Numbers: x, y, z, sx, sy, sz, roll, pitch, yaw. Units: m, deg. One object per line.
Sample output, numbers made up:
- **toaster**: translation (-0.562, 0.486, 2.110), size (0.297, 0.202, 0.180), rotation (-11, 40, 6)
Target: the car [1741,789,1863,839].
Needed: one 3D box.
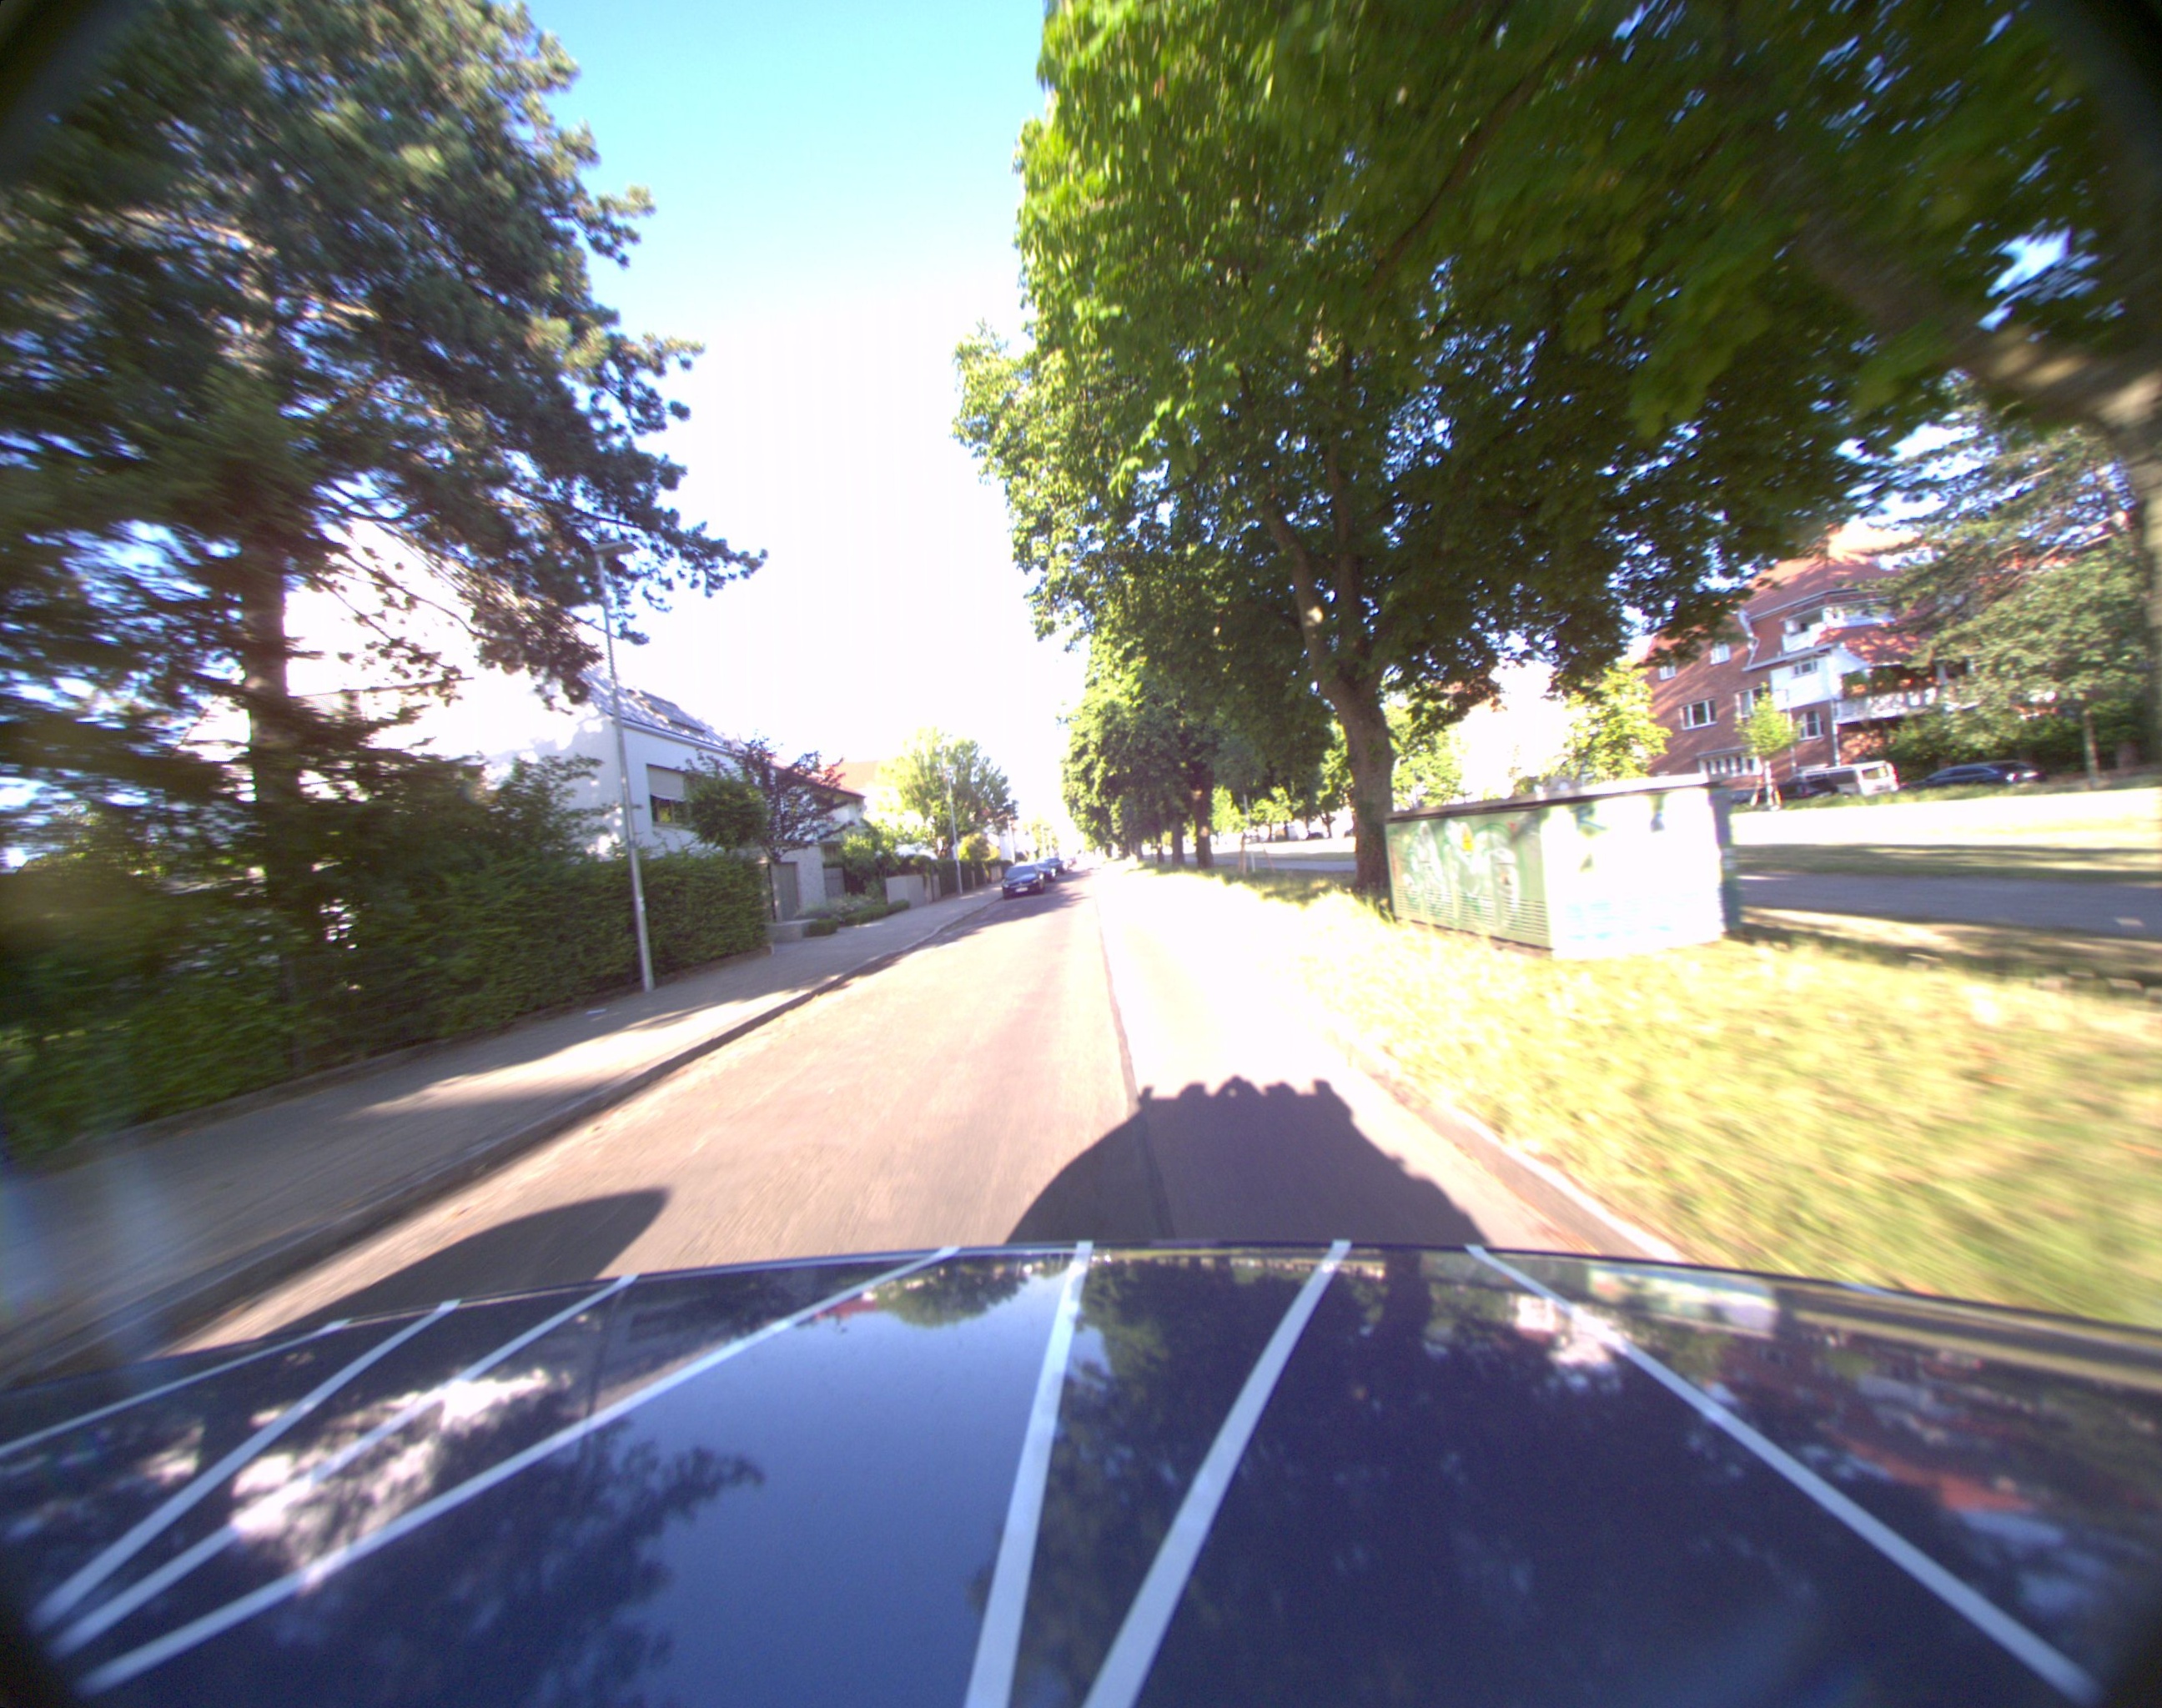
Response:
- **car**: translation (34.642, -1.860, 36.677), size (1.998, 2.002, 4.000), rotation (-6, 0, 1)

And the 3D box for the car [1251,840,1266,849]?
- **car**: translation (36.275, -1.976, 155.372), size (1.998, 1.680, 4.876), rotation (-6, 0, 1)

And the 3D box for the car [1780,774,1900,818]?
- **car**: translation (39.903, -2.986, 40.122), size (1.821, 1.827, 4.408), rotation (-6, 0, 1)

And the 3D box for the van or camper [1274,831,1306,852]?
- **van or camper**: translation (35.594, -2.104, 129.785), size (3.262, 3.092, 7.897), rotation (-6, 0, 1)

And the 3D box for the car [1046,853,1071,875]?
- **car**: translation (-2.062, 0.896, 70.378), size (1.999, 1.727, 4.863), rotation (-9, 0, -1)

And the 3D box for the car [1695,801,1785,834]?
- **car**: translation (40.480, -2.217, 46.831), size (1.761, 1.613, 4.306), rotation (-6, -1, 1)

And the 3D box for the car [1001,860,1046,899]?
- **car**: translation (-2.599, 1.136, 35.368), size (1.753, 1.468, 4.288), rotation (-7, 0, -2)

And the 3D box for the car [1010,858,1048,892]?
- **car**: translation (-2.763, 1.113, 40.713), size (1.695, 1.474, 3.928), rotation (-10, 0, -3)

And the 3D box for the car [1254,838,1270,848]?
- **car**: translation (35.612, -2.102, 149.764), size (1.998, 1.680, 4.876), rotation (-6, 0, 1)

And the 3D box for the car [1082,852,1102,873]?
- **car**: translation (1.204, 0.929, 82.437), size (1.998, 2.002, 4.000), rotation (-6, 0, 1)

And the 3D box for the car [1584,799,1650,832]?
- **car**: translation (40.480, -2.872, 57.498), size (1.761, 2.001, 4.369), rotation (-6, -1, 1)

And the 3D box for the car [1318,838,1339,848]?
- **car**: translation (41.526, -1.822, 127.608), size (1.998, 1.455, 4.000), rotation (-5, -1, 0)

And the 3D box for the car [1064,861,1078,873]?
- **car**: translation (-1.460, 1.864, 109.724), size (1.784, 1.490, 4.397), rotation (-8, 0, -1)

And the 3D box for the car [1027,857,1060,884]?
- **car**: translation (-2.479, 1.059, 50.688), size (1.798, 1.483, 4.674), rotation (-6, 0, 0)

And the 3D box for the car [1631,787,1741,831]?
- **car**: translation (34.250, -2.499, 43.233), size (1.998, 1.929, 5.247), rotation (-6, -1, 2)

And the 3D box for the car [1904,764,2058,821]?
- **car**: translation (39.787, -2.655, 33.768), size (1.998, 2.001, 4.001), rotation (-5, -1, 2)

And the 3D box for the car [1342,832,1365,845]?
- **car**: translation (40.911, -2.312, 114.132), size (1.998, 1.724, 4.001), rotation (-6, 0, 2)

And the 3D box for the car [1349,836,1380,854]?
- **car**: translation (35.191, -1.109, 94.352), size (1.998, 2.002, 4.876), rotation (-6, 0, 2)
